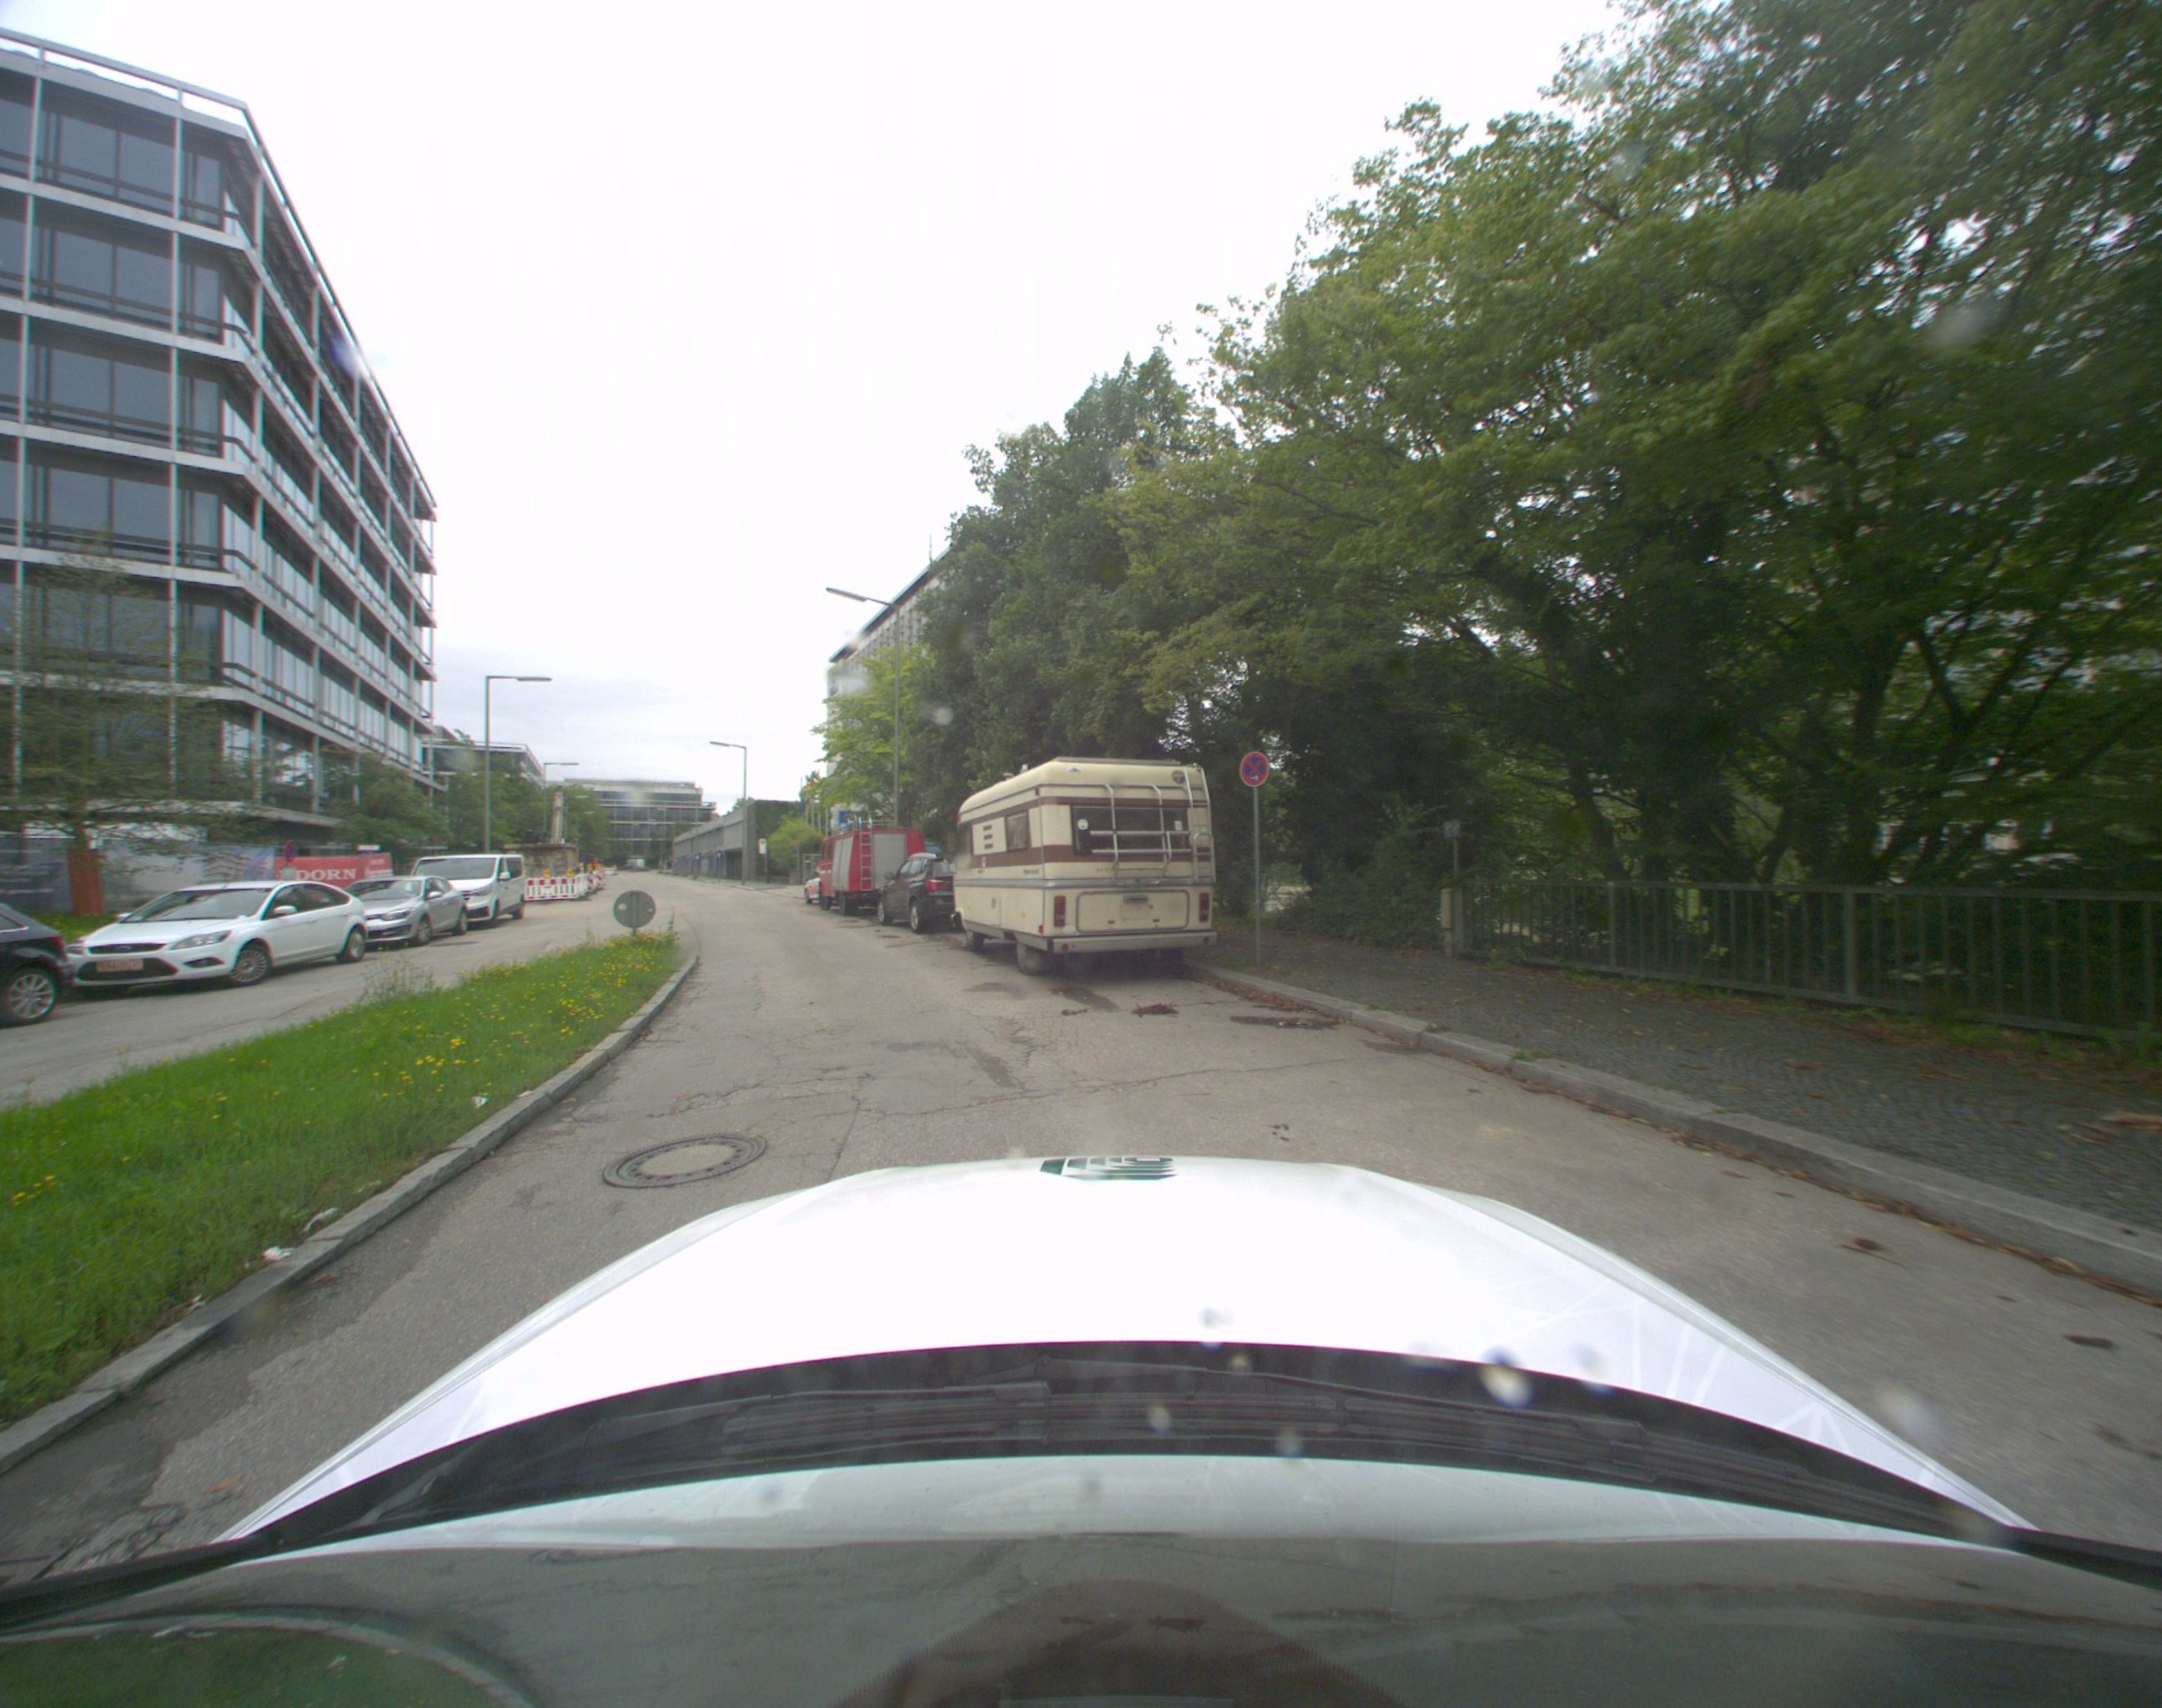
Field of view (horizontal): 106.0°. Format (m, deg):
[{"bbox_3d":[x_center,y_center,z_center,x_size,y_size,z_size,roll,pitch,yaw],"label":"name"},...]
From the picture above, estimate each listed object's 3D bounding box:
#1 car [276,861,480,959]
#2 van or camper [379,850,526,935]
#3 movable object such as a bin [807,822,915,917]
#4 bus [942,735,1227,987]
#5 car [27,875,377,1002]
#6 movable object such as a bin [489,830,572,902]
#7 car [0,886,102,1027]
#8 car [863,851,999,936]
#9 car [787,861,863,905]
[{"bbox_3d":[-14.601,1.043,17.269,2.002,1.728,4.415,0,0,-23],"label":"car"},{"bbox_3d":[-16.875,0.916,22.201,2.003,2.013,5.333,0,0,-25],"label":"van or camper"},{"bbox_3d":[-6.736,0.420,24.362,2.114,2.458,6.136,0,-1,-25],"label":"movable object such as a bin"},{"bbox_3d":[-0.345,0.098,11.802,2.323,2.699,5.696,0,-1,-20],"label":"bus"},{"bbox_3d":[-13.015,1.125,12.507,1.771,1.486,4.196,0,0,-17],"label":"car"},{"bbox_3d":[-31.565,0.613,47.037,3.261,3.716,8.922,0,0,-30],"label":"movable object such as a bin"},{"bbox_3d":[-11.927,1.085,7.238,1.874,1.437,4.308,-1,0,-13],"label":"car"},{"bbox_3d":[-3.489,0.782,18.243,1.786,1.649,4.420,0,-1,-28],"label":"car"},{"bbox_3d":[-9.929,1.064,31.409,1.788,1.550,4.214,0,-1,-32],"label":"car"}]
